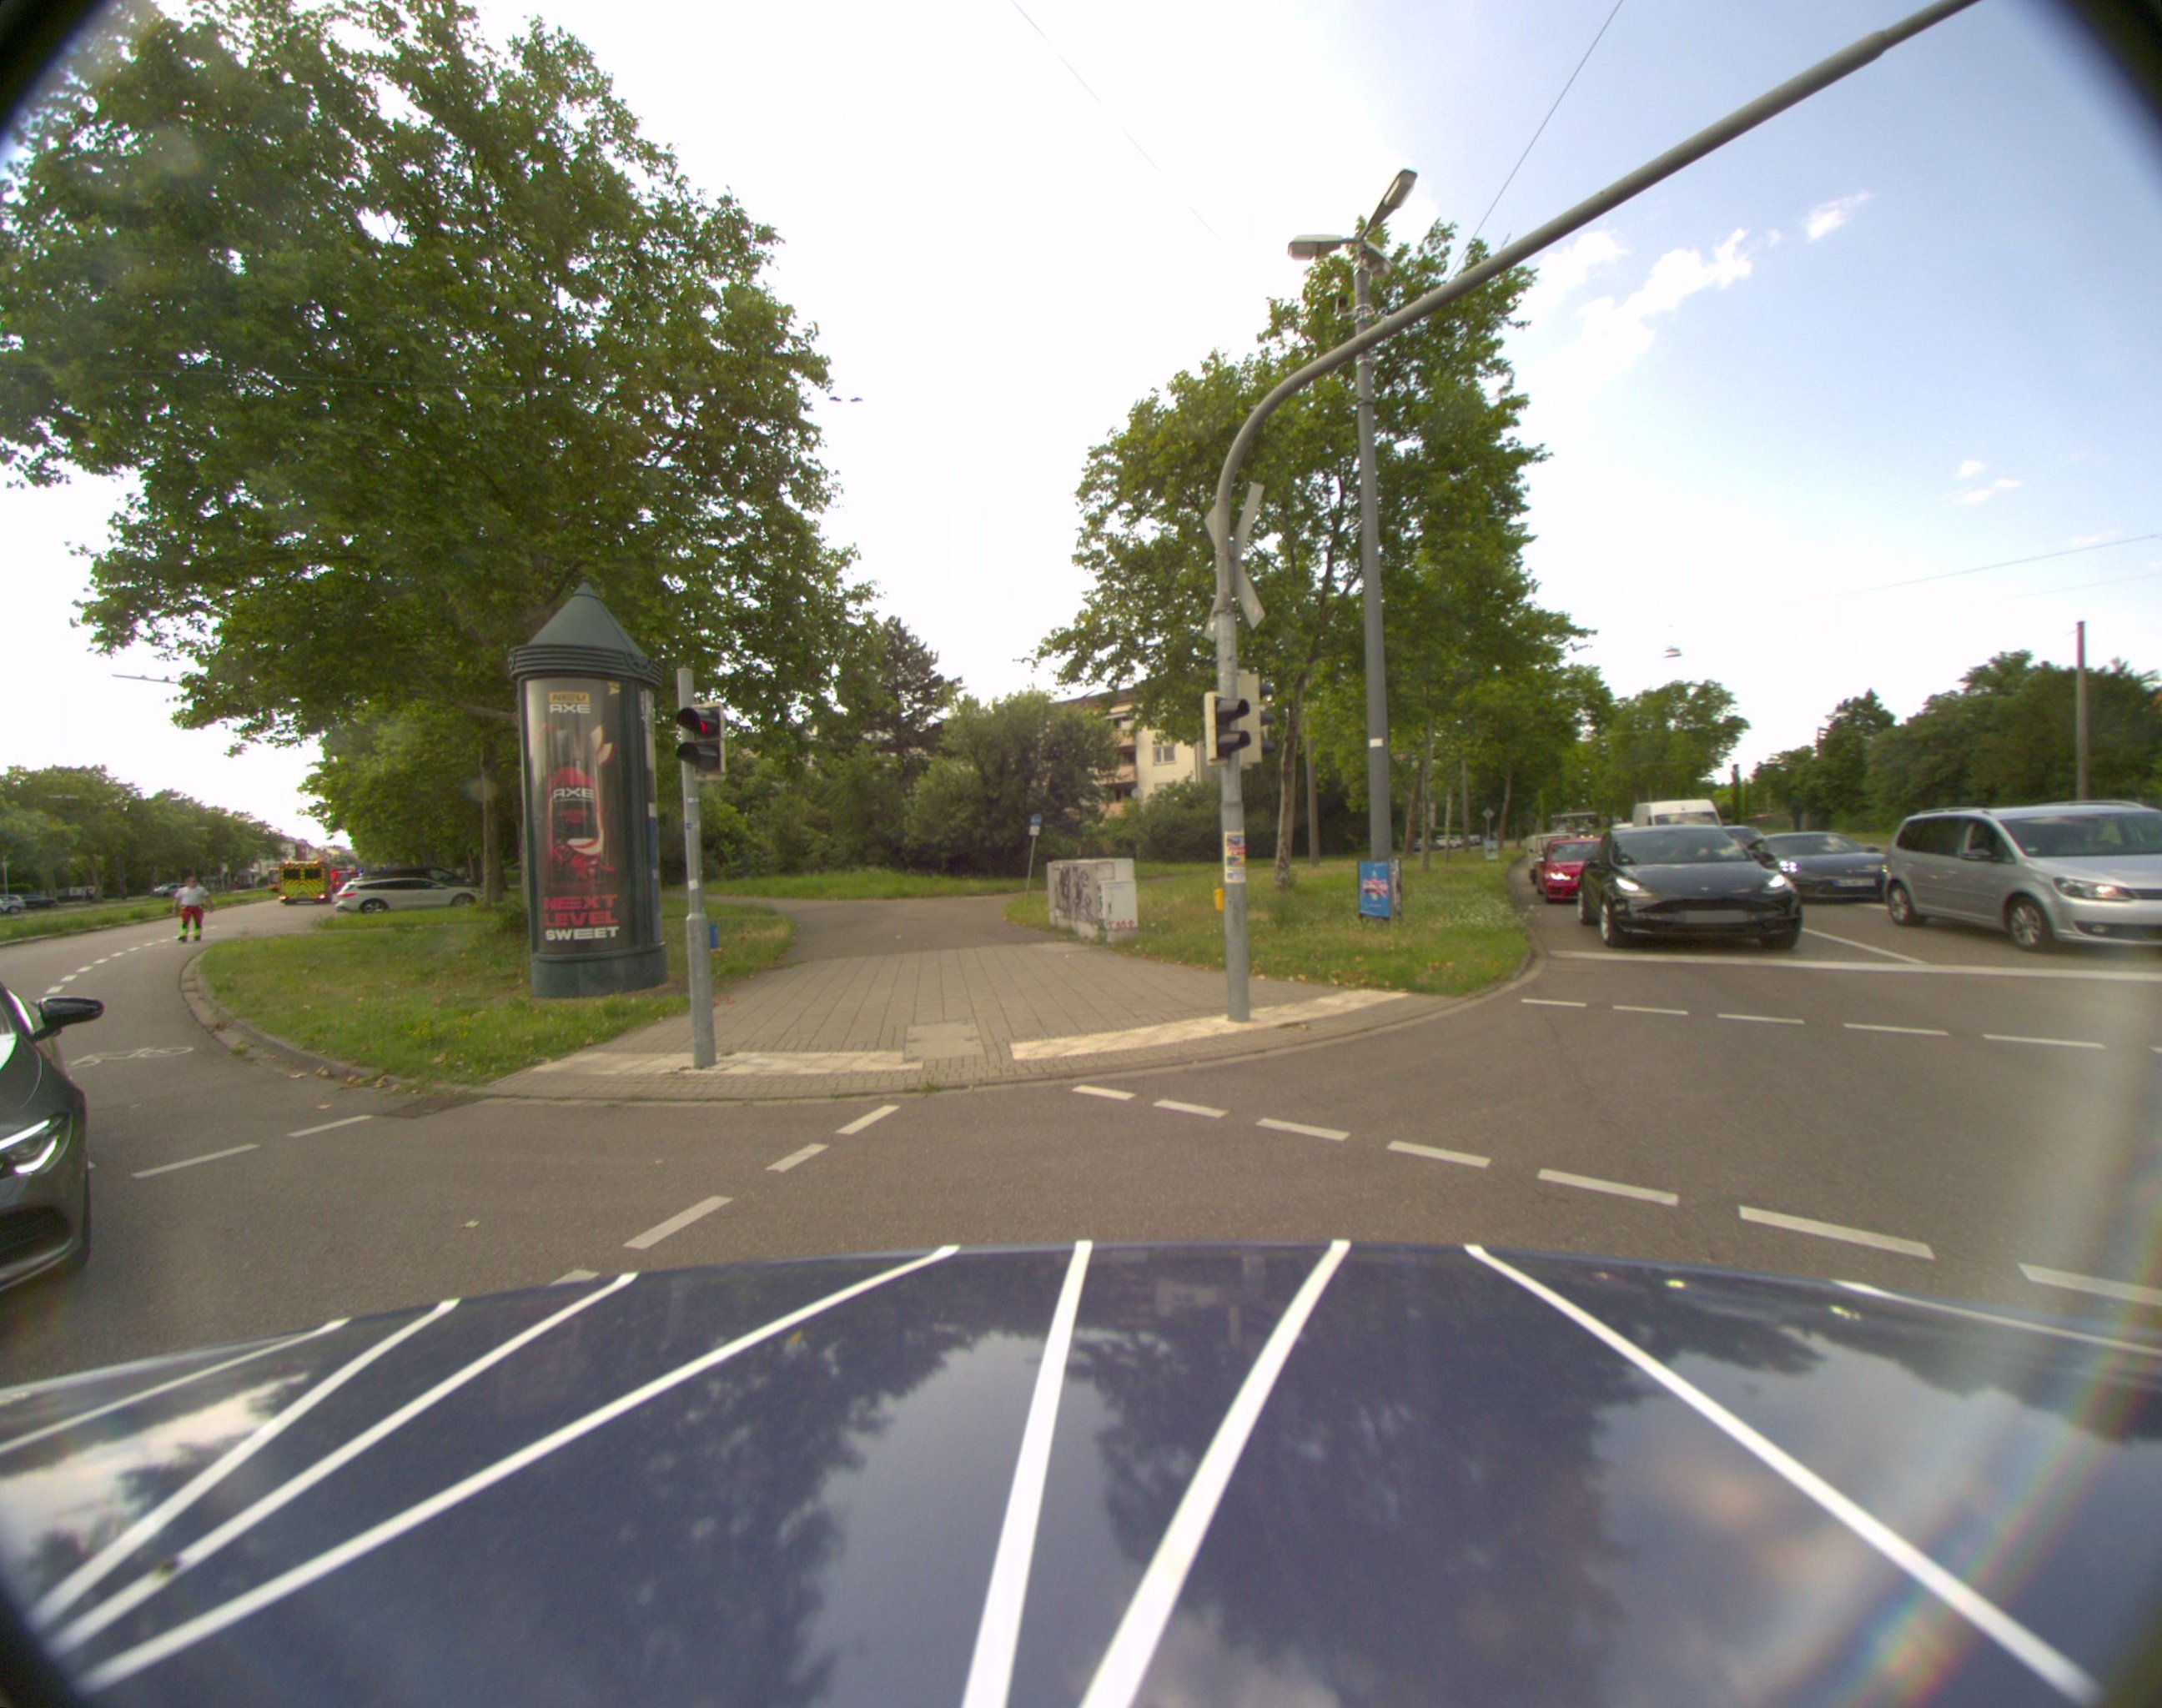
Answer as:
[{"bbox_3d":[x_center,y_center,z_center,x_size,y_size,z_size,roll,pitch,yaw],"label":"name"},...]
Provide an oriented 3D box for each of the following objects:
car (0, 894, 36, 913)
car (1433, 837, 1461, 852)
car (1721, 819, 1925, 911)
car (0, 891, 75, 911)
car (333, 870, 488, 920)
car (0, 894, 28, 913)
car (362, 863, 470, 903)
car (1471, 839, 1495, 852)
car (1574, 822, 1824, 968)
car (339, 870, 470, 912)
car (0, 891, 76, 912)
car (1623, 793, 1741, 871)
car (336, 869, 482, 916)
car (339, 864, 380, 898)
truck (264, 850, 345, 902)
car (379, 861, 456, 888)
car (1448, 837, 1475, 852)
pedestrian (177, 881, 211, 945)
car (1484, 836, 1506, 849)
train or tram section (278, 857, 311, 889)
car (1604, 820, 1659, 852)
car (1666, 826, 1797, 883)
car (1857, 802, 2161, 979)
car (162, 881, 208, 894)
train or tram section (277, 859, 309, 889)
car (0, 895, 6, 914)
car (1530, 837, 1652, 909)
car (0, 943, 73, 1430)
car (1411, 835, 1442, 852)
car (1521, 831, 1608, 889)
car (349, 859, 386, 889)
[{"bbox_3d":[-84.788,3.946,58.766,1.897,1.356,4.322,-2,1,26],"label":"car"},{"bbox_3d":[40.881,-1.056,84.869,1.772,1.586,3.664,-2,-1,43],"label":"car"},{"bbox_3d":[14.426,0.152,15.075,1.800,1.499,4.006,-4,0,28],"label":"car"},{"bbox_3d":[-90.274,4.034,65.289,1.897,1.356,4.322,-2,1,26],"label":"car"},{"bbox_3d":[-27.251,1.616,31.005,4.551,1.634,1.995,-3,0,-44],"label":"car"},{"bbox_3d":[-82.911,3.872,56.980,1.897,1.356,4.322,-2,1,26],"label":"car"},{"bbox_3d":[-38.648,1.652,44.274,4.565,2.002,1.995,-3,1,-41],"label":"car"},{"bbox_3d":[51.033,-1.098,96.525,1.772,1.586,3.664,-2,-1,43],"label":"car"},{"bbox_3d":[8.514,0.437,10.968,1.927,1.642,4.587,-4,0,29],"label":"car"},{"bbox_3d":[-32.542,1.751,36.663,4.551,1.634,1.995,-3,0,-44],"label":"car"},{"bbox_3d":[-86.525,3.899,62.489,1.897,1.356,4.322,-2,1,26],"label":"car"},{"bbox_3d":[22.411,-0.825,28.630,2.222,2.515,5.942,-4,0,27],"label":"car"},{"bbox_3d":[-29.001,1.625,32.899,4.551,1.634,1.995,-3,0,-44],"label":"car"},{"bbox_3d":[-75.164,2.775,79.261,2.981,3.297,7.439,-1,-1,-43],"label":"car"},{"bbox_3d":[-54.601,1.518,53.609,3.199,3.298,7.502,-3,1,-40],"label":"truck"},{"bbox_3d":[-89.105,2.718,102.084,2.967,3.310,7.475,-2,-1,43],"label":"car"},{"bbox_3d":[44.062,-1.074,87.949,1.772,1.586,3.664,-2,-1,43],"label":"car"},{"bbox_3d":[-24.136,1.597,20.683,0.585,1.674,0.495,-2,1,44],"label":"pedestrian"},{"bbox_3d":[55.989,-1.520,102.687,1.772,1.586,3.664,-2,-1,43],"label":"car"},{"bbox_3d":[-95.614,2.318,92.329,7.400,3.576,2.500,-1,2,43],"label":"train or tram section"},{"bbox_3d":[30.618,-1.035,42.359,1.760,1.637,4.350,-2,1,27],"label":"car"},{"bbox_3d":[18.176,-0.048,21.462,1.761,1.367,4.350,-4,0,27],"label":"car"},{"bbox_3d":[11.619,0.277,9.042,1.926,1.642,4.509,-4,0,27],"label":"car"},{"bbox_3d":[-132.829,4.922,112.707,1.818,1.827,4.006,-2,-1,17],"label":"car"},{"bbox_3d":[-101.013,2.525,97.355,7.400,3.576,2.500,-1,2,43],"label":"train or tram section"},{"bbox_3d":[-80.898,3.784,54.340,1.897,1.356,4.322,-2,1,26],"label":"car"},{"bbox_3d":[11.862,0.371,17.966,1.798,1.383,4.509,-4,0,27],"label":"car"},{"bbox_3d":[-5.834,1.231,3.101,4.593,1.385,1.845,-2,-1,34],"label":"car"},{"bbox_3d":[35.362,-1.037,77.661,1.772,1.586,3.664,-2,-1,43],"label":"car"},{"bbox_3d":[15.007,0.117,23.803,1.798,1.560,4.509,-4,0,27],"label":"car"},{"bbox_3d":[-83.471,2.369,88.952,2.981,3.310,7.439,-1,-1,-43],"label":"car"}]
